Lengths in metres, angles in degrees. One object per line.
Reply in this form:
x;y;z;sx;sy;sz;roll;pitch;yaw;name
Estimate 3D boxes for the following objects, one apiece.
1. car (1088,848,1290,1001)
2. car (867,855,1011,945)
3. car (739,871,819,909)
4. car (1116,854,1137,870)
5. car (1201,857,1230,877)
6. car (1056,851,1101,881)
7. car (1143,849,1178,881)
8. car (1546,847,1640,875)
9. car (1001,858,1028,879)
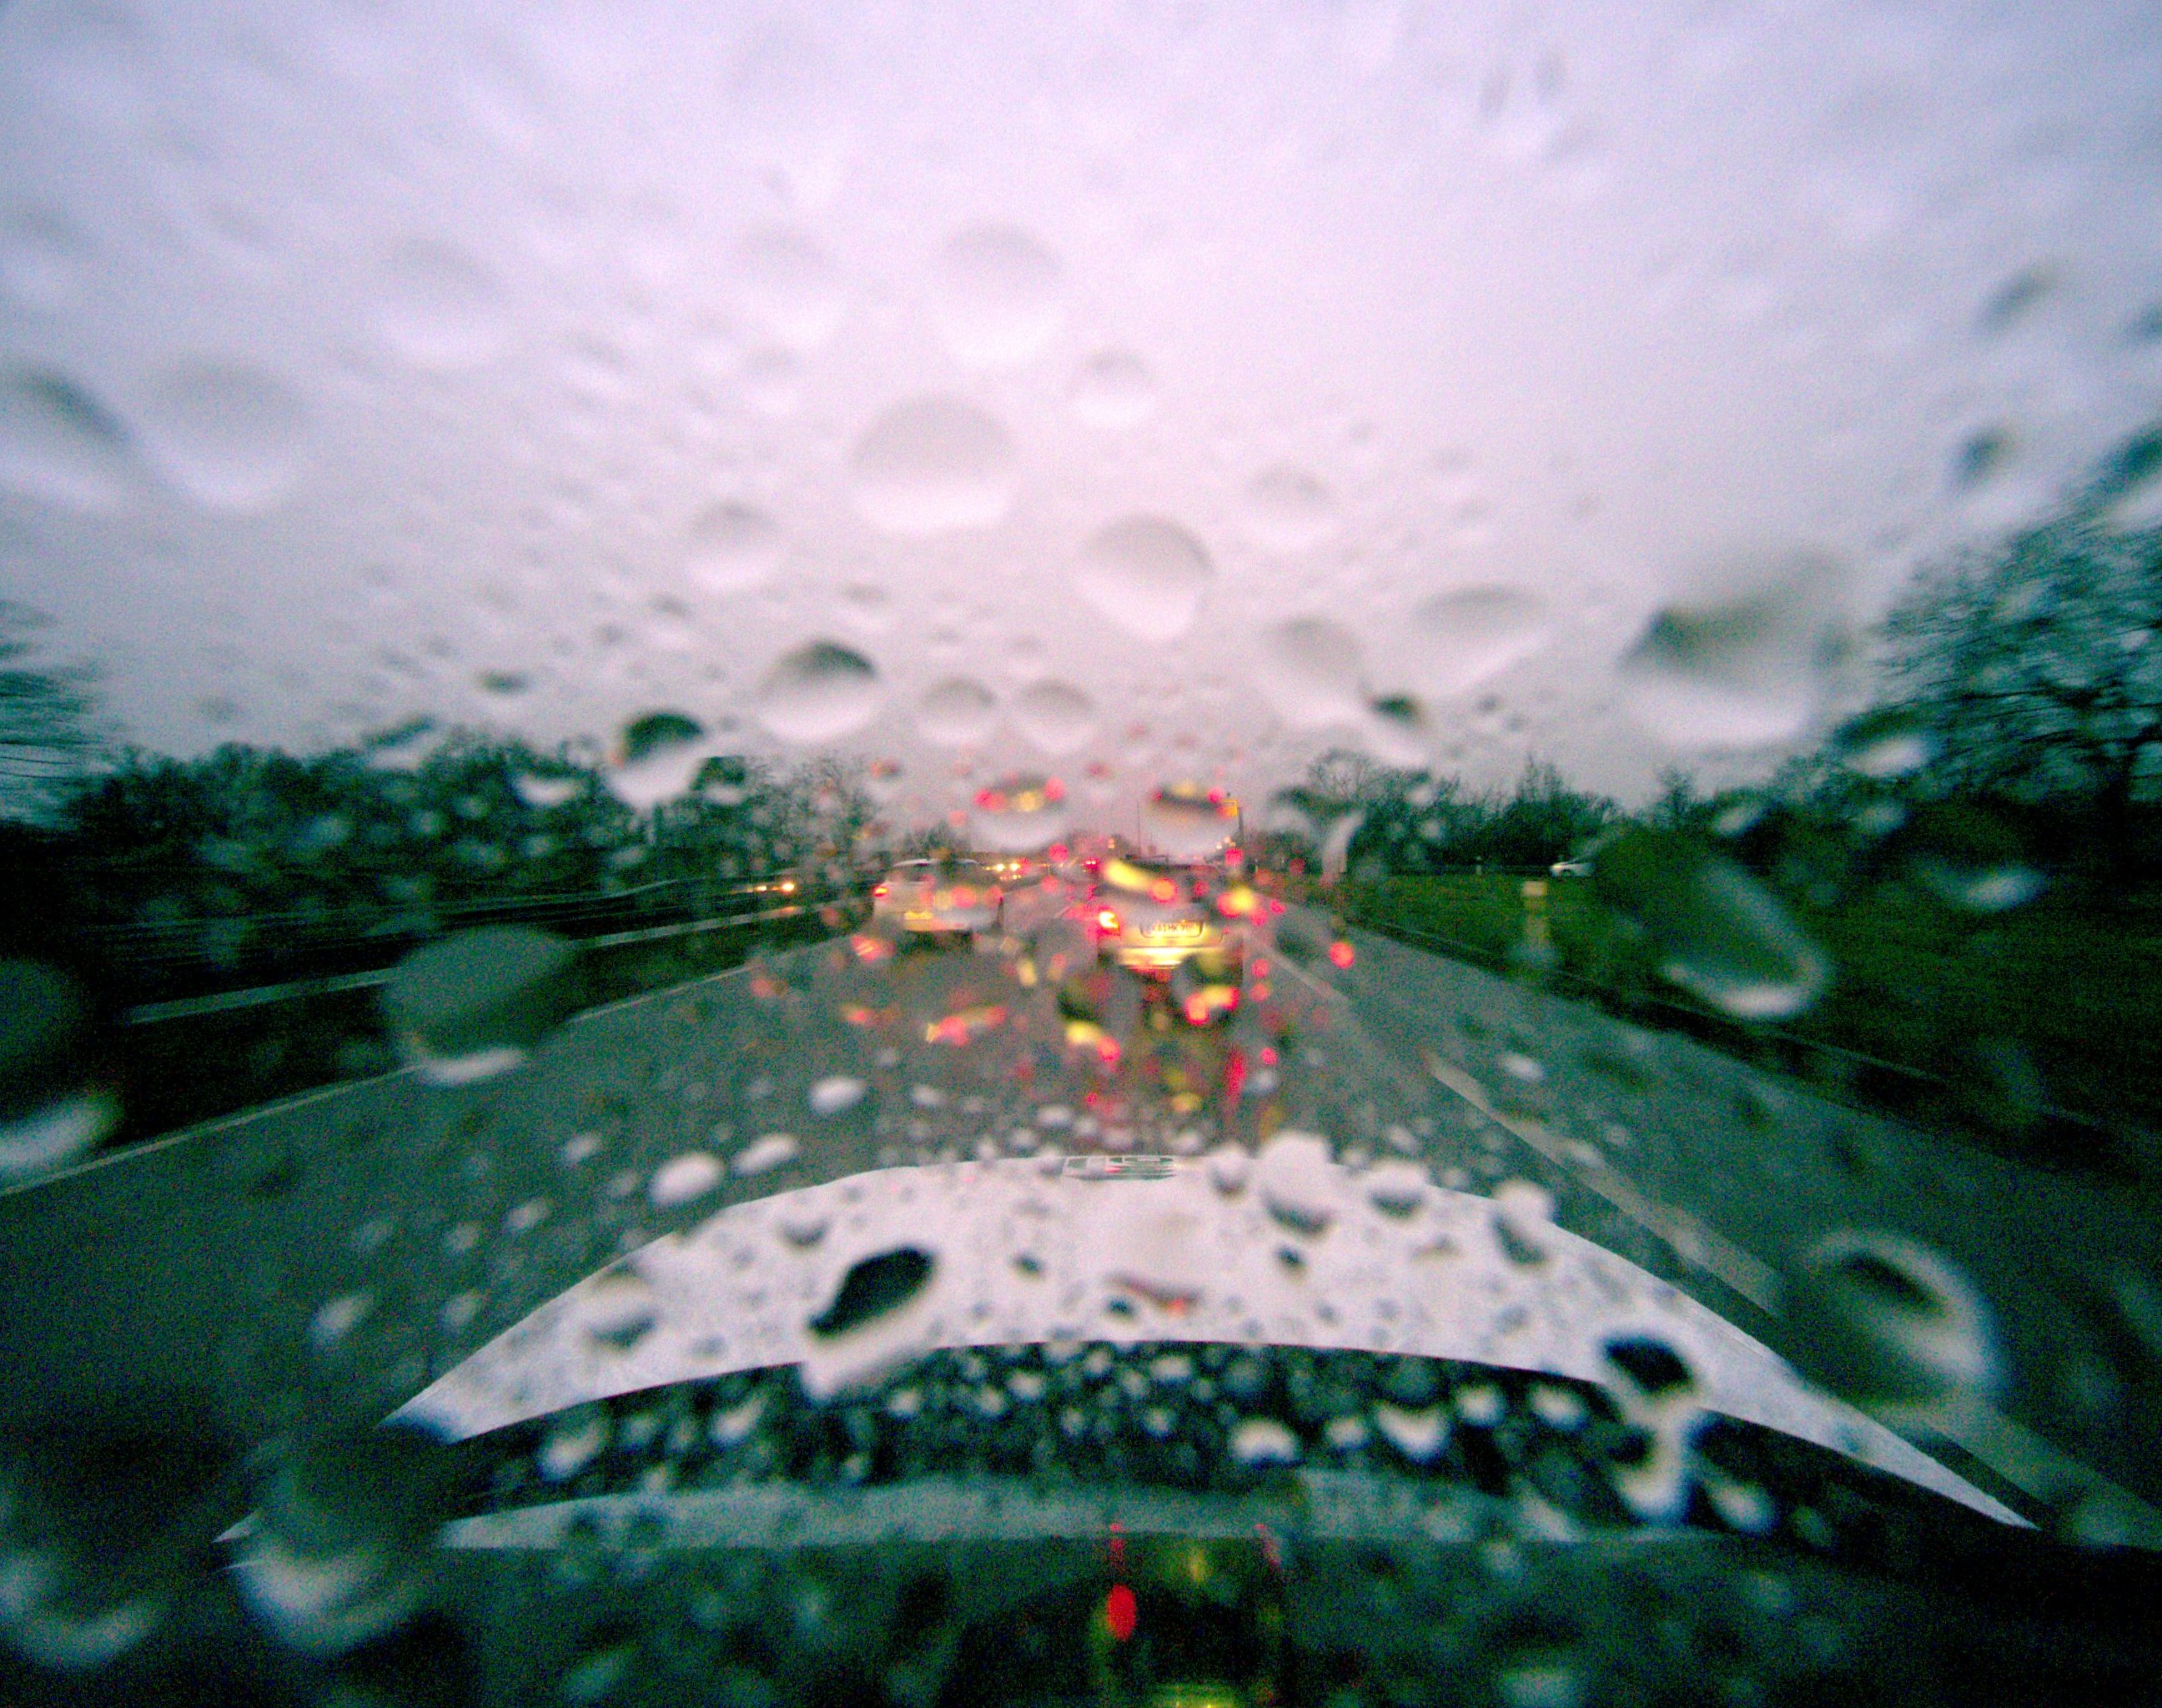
1.258;0.731;10.307;1.984;1.500;4.143;-2;-1;5;car
-2.534;0.763;15.589;1.716;1.440;4.230;-2;0;4;car
-12.549;1.457;34.095;1.747;1.410;3.643;-1;0;4;car
4.735;0.801;84.198;1.779;1.545;4.010;-2;0;9;car
11.112;1.058;67.492;1.783;1.545;4.001;-2;0;1;car
-0.095;0.645;45.305;1.983;1.601;4.316;0;0;6;car
4.843;0.638;49.432;1.887;1.767;4.318;-2;0;8;car
25.831;0.359;41.250;3.949;1.345;2.013;-1;0;30;car
-6.614;1.417;80.948;1.984;1.918;4.292;-1;0;4;car
